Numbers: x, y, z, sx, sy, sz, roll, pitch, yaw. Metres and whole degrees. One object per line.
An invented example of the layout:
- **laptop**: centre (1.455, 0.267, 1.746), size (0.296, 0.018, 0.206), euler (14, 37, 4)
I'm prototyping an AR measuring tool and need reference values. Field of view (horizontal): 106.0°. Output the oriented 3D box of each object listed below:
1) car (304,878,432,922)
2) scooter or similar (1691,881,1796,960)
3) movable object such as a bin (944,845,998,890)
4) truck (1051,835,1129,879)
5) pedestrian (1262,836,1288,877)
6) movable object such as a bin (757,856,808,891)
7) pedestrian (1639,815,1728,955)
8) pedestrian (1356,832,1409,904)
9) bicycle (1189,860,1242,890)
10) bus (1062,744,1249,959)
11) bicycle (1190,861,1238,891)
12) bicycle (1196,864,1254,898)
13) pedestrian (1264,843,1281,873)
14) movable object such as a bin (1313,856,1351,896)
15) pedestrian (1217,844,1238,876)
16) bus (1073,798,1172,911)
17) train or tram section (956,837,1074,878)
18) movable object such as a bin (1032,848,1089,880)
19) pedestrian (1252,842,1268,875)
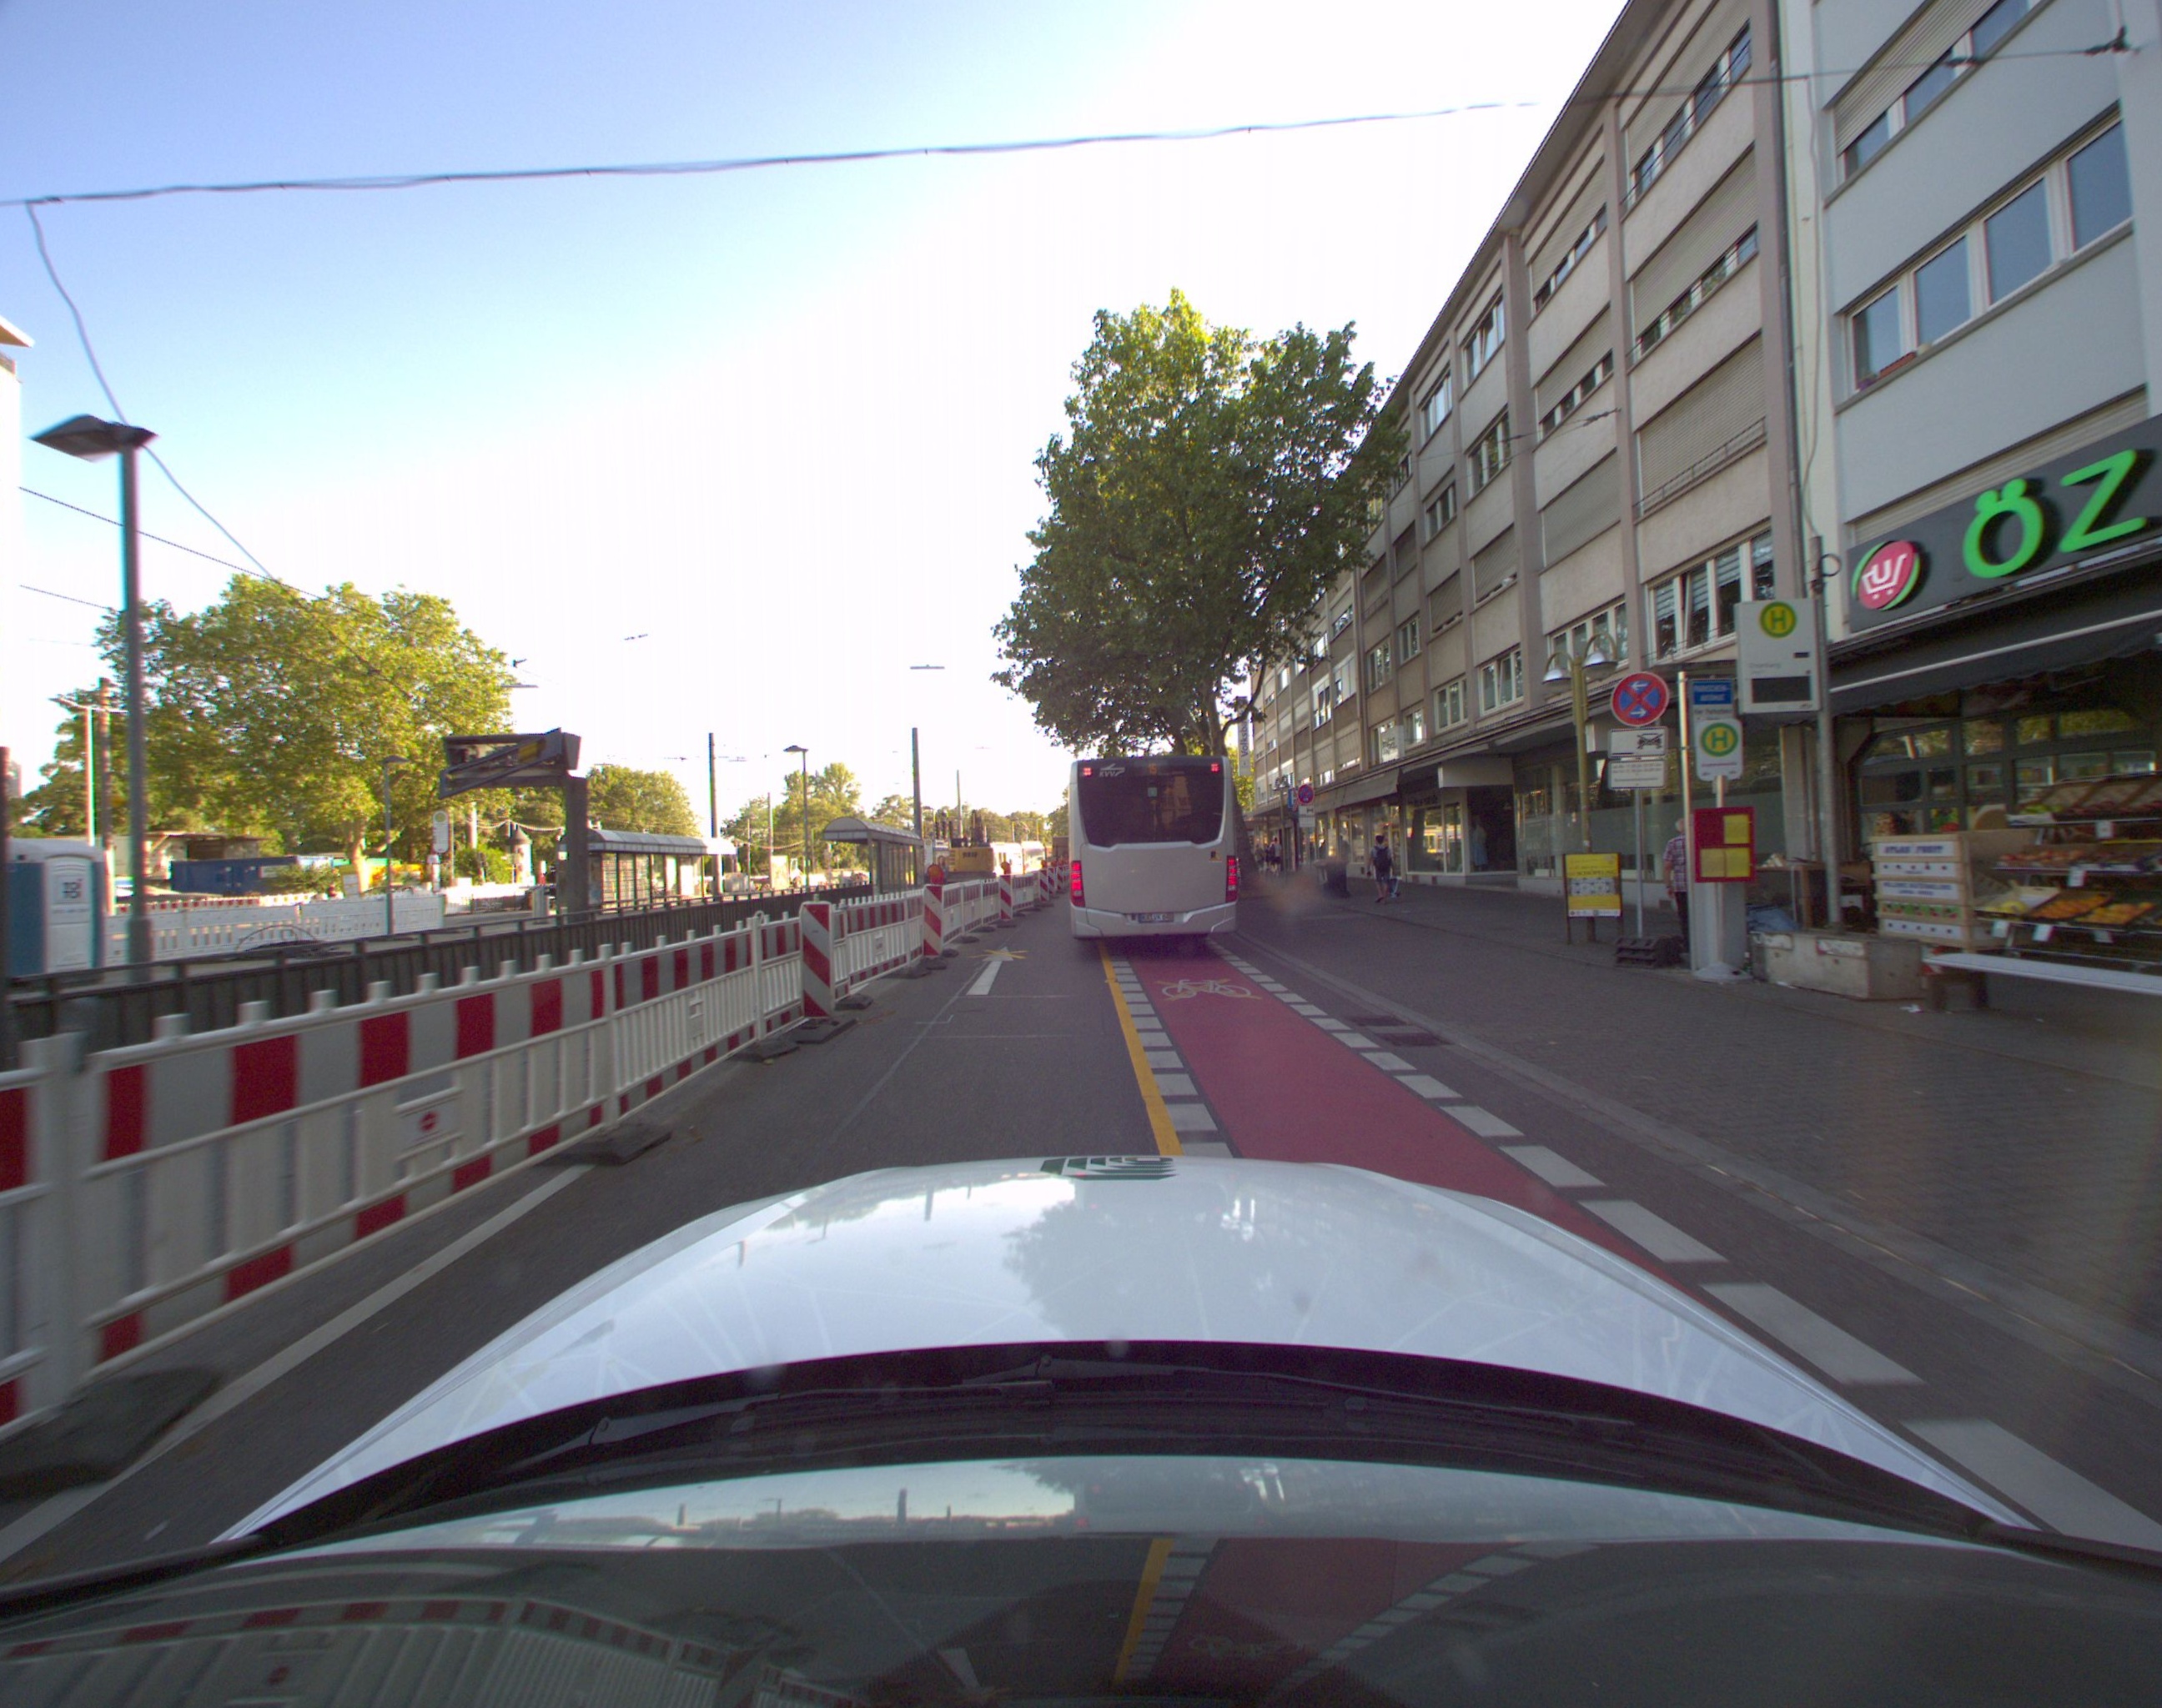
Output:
- **car**: centre (-29.333, 1.840, 33.698), size (1.800, 1.566, 3.968), euler (-2, 0, -1)
- **scooter or similar**: centre (7.684, 0.757, 9.471), size (0.575, 0.844, 0.732), euler (-2, -1, -6)
- **movable object such as a bin**: centre (-6.126, 0.729, 46.009), size (2.638, 2.318, 4.894), euler (-2, 0, -5)
- **truck**: centre (0.927, 0.243, 71.191), size (2.785, 3.541, 9.038), euler (-2, 0, 28)
- **pedestrian**: centre (9.515, 0.130, 40.044), size (0.835, 1.869, 1.100), euler (-7, -1, 1)
- **movable object such as a bin**: centre (-24.219, 1.565, 66.279), size (2.142, 2.639, 4.602), euler (-2, -1, 3)
- **pedestrian**: centre (7.464, 0.372, 10.115), size (0.643, 1.673, 0.556), euler (-2, -1, 2)
- **pedestrian**: centre (7.312, 0.332, 19.789), size (0.840, 1.673, 0.990), euler (-4, -1, 1)
- **bicycle**: centre (5.411, 0.855, 32.842), size (1.982, 1.058, 0.770), euler (-4, -1, -2)
- **bus**: centre (1.139, -0.028, 17.227), size (2.724, 3.139, 10.703), euler (0, 0, 0)
- **bicycle**: centre (5.137, 0.839, 31.443), size (1.706, 1.058, 0.644), euler (-4, 0, 2)
- **bicycle**: centre (4.916, 0.918, 27.863), size (1.784, 1.022, 0.643), euler (-4, 0, -2)
- **pedestrian**: centre (10.409, 0.200, 44.252), size (0.630, 1.573, 0.774), euler (-5, 0, 1)
- **movable object such as a bin**: centre (7.123, 0.610, 23.157), size (0.671, 1.075, 1.228), euler (-3, 1, 1)
- **pedestrian**: centre (8.349, 0.342, 46.401), size (0.896, 1.710, 1.071), euler (-5, -1, 1)
- **bus**: centre (1.120, 0.039, 27.077), size (2.700, 3.107, 8.976), euler (-1, 0, 0)
- **train or tram section**: centre (-5.890, 0.289, 76.517), size (2.822, 3.533, 13.481), euler (-3, -1, 36)
- **movable object such as a bin**: centre (-1.461, 0.721, 60.992), size (1.975, 2.256, 5.239), euler (-1, 0, 28)
- **pedestrian**: centre (9.722, 0.238, 44.253), size (0.581, 1.708, 0.679), euler (-5, -1, 1)
